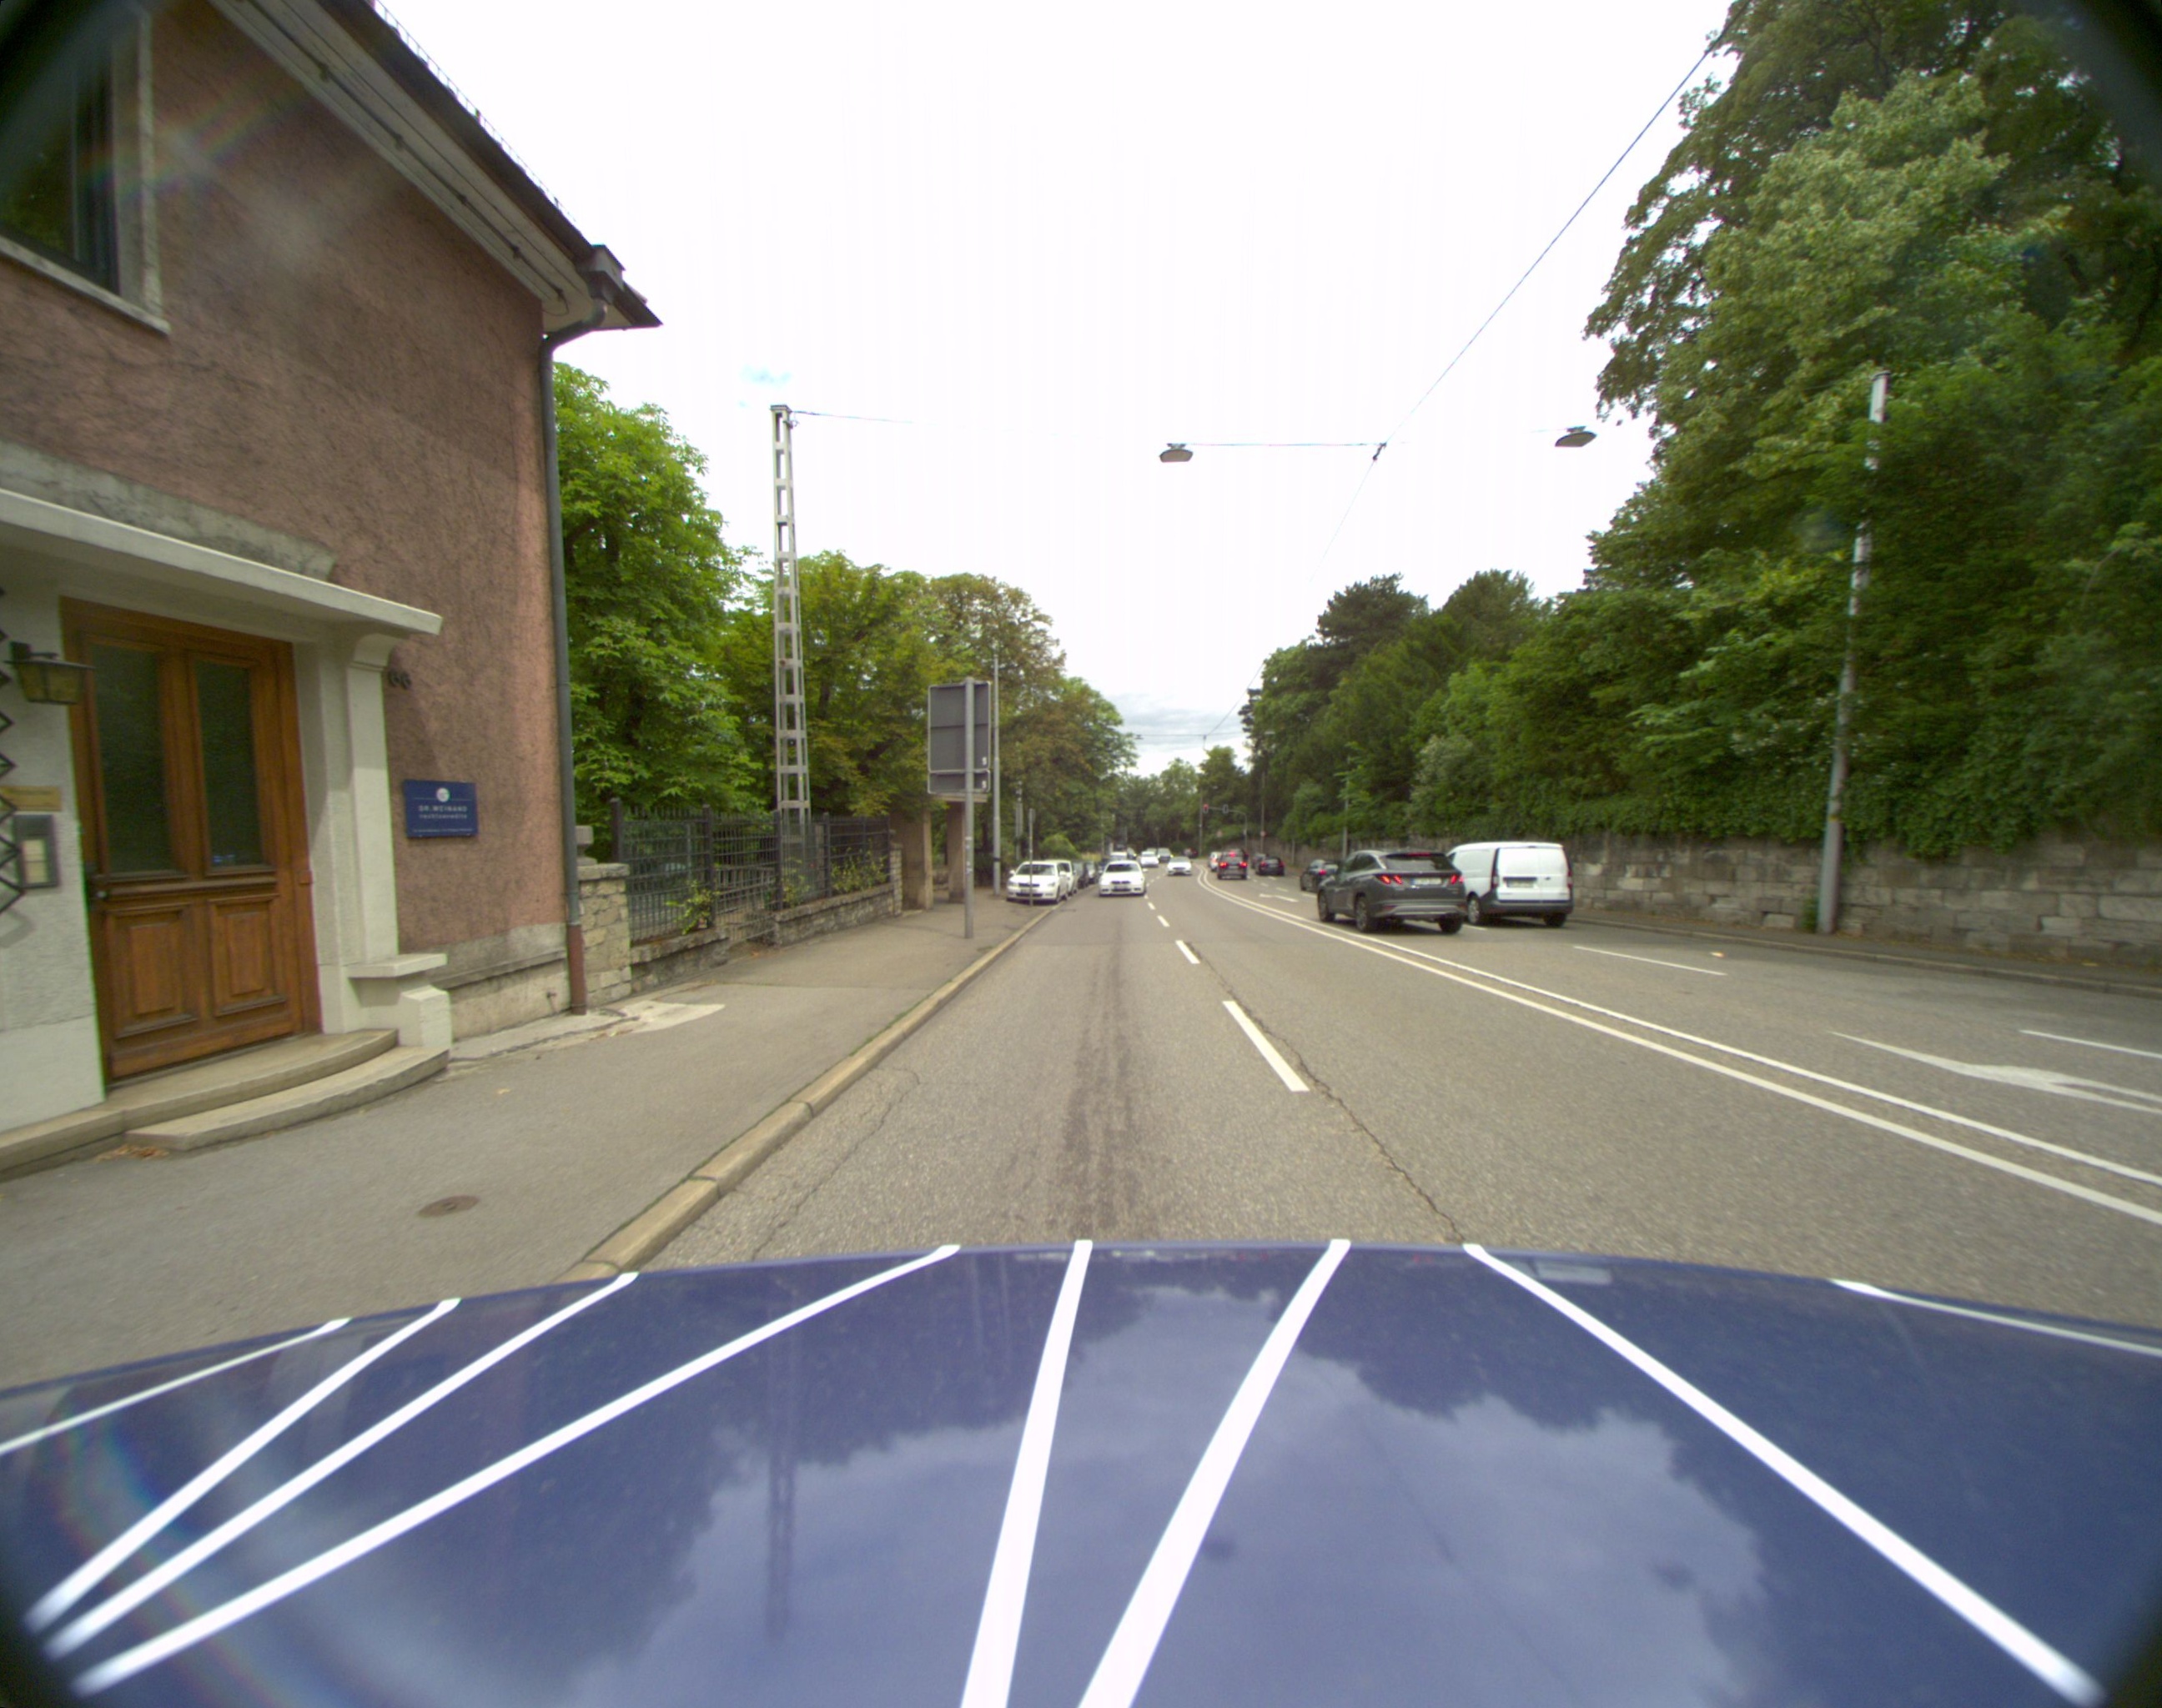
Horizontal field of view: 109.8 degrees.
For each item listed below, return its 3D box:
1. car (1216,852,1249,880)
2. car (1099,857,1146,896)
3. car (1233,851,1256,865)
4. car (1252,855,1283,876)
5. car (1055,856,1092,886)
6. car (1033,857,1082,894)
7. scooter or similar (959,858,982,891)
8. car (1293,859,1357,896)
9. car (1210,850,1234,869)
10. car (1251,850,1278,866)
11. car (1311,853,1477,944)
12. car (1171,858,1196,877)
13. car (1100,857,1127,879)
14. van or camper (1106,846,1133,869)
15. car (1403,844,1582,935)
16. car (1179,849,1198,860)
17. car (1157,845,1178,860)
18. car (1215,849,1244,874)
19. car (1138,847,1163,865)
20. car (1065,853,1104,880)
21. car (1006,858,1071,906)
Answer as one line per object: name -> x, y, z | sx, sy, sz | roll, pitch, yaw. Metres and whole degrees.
car -> 9.914, 0.722, 49.857 | 1.851, 1.642, 4.626 | 1, 1, 8
car -> 1.857, 0.884, 32.322 | 1.822, 1.463, 4.786 | 1, 1, 5
car -> 17.817, 0.430, 82.997 | 2.006, 1.401, 4.758 | -1, 0, 8
car -> 13.755, 0.805, 56.097 | 1.846, 1.401, 4.458 | 1, 1, 9
car -> -0.370, 0.898, 40.710 | 1.564, 1.414, 3.425 | 3, 1, 6
car -> -0.956, 0.895, 33.124 | 1.719, 1.463, 4.039 | 1, 0, 4
scooter or similar -> -4.371, 0.816, 30.121 | 0.517, 1.253, 1.169 | 2, 1, 8
car -> 10.407, 0.956, 32.663 | 1.565, 1.394, 4.254 | 1, 1, 3
car -> 11.969, 0.447, 64.814 | 1.841, 1.545, 4.791 | -1, 1, 9
car -> 16.484, 0.315, 68.490 | 1.846, 1.428, 4.002 | 0, 0, 6
car -> 6.314, 0.801, 15.905 | 1.853, 1.623, 4.362 | -1, 0, 3
car -> 7.830, 1.002, 58.042 | 1.801, 1.382, 3.530 | 0, 0, 9
car -> 2.518, 1.059, 58.636 | 1.600, 1.451, 3.944 | 1, 1, 10
van or camper -> 3.262, 0.254, 63.832 | 1.701, 1.835, 4.245 | 0, 1, 11
car -> 9.262, 0.700, 17.598 | 1.897, 1.837, 4.397 | 0, 1, 3
car -> 14.688, 0.014, 104.109 | 1.998, 1.433, 4.000 | -1, 0, 1
car -> 10.085, -0.206, 88.999 | 1.958, 1.730, 3.999 | -1, 0, 0
car -> 11.165, 0.530, 57.455 | 1.963, 1.740, 4.880 | 1, 1, 9
car -> 7.192, 0.194, 78.834 | 1.959, 1.761, 3.998 | -1, 0, -3
car -> 0.280, 0.721, 46.167 | 1.773, 1.391, 4.553 | 1, 1, 8
car -> -1.415, 0.926, 26.969 | 1.679, 1.453, 4.367 | 1, 1, 5
